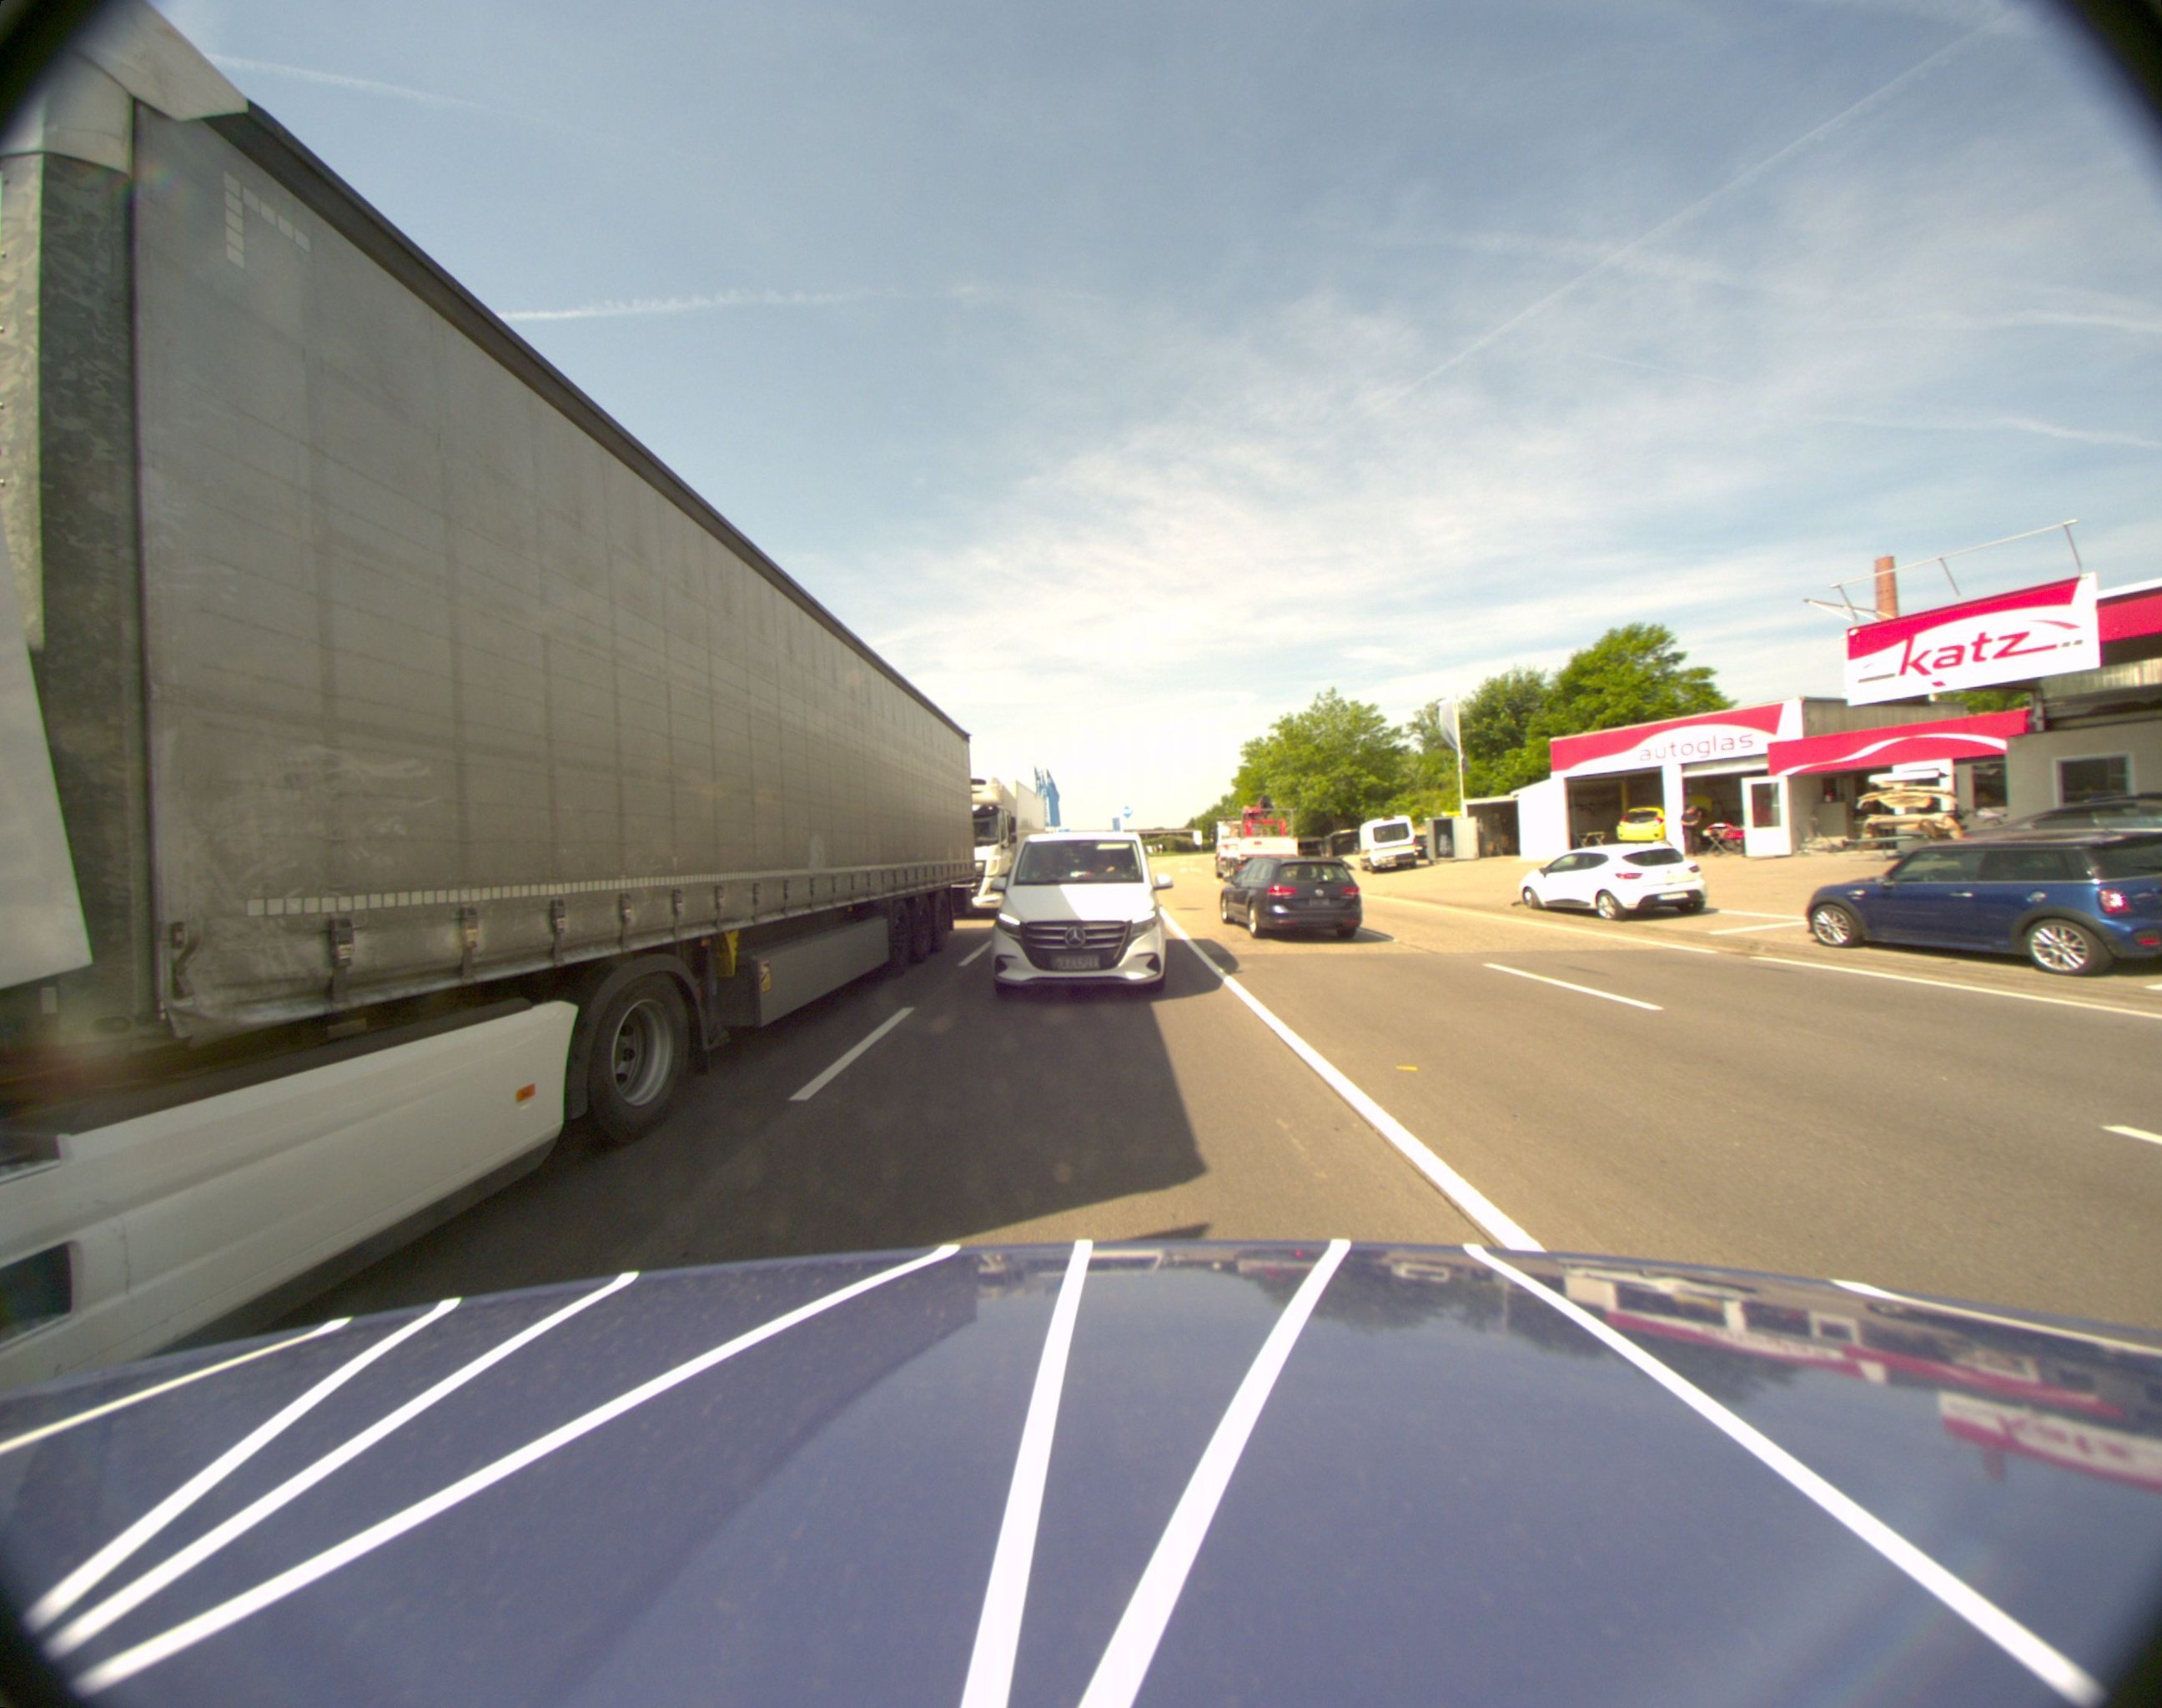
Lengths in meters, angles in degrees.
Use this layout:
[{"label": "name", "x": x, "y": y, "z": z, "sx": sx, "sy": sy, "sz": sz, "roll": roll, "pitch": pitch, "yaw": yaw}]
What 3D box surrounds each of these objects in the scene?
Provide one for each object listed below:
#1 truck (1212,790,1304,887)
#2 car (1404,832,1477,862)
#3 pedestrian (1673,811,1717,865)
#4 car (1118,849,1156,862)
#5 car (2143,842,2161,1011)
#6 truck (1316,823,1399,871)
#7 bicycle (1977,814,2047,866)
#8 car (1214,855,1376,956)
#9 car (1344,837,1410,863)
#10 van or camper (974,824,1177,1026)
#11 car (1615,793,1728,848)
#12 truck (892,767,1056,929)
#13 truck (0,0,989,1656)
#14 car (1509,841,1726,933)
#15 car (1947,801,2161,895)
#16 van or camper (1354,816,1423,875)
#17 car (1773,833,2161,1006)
[{"label": "truck", "x": 8.643, "y": -0.704, "z": 38.480, "sx": 2.962, "sy": 4.184, "sz": 10.649, "roll": -1, "pitch": 0, "yaw": 5}, {"label": "car", "x": 20.805, "y": -0.392, "z": 44.022, "sx": 3.675, "sy": 1.521, "sz": 1.736, "roll": -3, "pitch": 1, "yaw": -22}, {"label": "pedestrian", "x": 20.869, "y": -0.538, "z": 25.841, "sx": 0.724, "sy": 1.752, "sz": 0.895, "roll": -3, "pitch": 1, "yaw": 3}, {"label": "car", "x": 7.069, "y": 0.183, "z": 96.417, "sx": 4.387, "sy": 1.551, "sz": 1.810, "roll": -2, "pitch": 0, "yaw": -10}, {"label": "car", "x": 11.637, "y": 0.485, "z": 6.057, "sx": 3.806, "sy": 1.516, "sz": 1.846, "roll": -6, "pitch": 1, "yaw": -2}, {"label": "truck", "x": 16.216, "y": -0.419, "z": 45.238, "sx": 2.335, "sy": 2.283, "sz": 8.805, "roll": -7, "pitch": 0, "yaw": 6}, {"label": "bicycle", "x": 21.732, "y": -0.331, "z": 17.733, "sx": 2.000, "sy": 0.966, "sz": 0.414, "roll": -8, "pitch": 3, "yaw": -21}, {"label": "car", "x": 3.862, "y": 0.837, "z": 14.513, "sx": 1.811, "sy": 1.551, "sz": 4.386, "roll": -2, "pitch": 0, "yaw": 0}, {"label": "car", "x": 19.742, "y": -0.292, "z": 50.761, "sx": 3.671, "sy": 1.502, "sz": 1.716, "roll": -3, "pitch": 1, "yaw": -8}, {"label": "van or camper", "x": 0.044, "y": 0.701, "z": 10.232, "sx": 1.998, "sy": 2.002, "sz": 5.291, "roll": -1, "pitch": 0, "yaw": 2}, {"label": "car", "x": 22.654, "y": -1.287, "z": 29.162, "sx": 3.674, "sy": 1.715, "sz": 1.736, "roll": -6, "pitch": 2, "yaw": -22}, {"label": "truck", "x": -2.775, "y": -0.190, "z": 23.884, "sx": 2.886, "sy": 3.789, "sz": 11.143, "roll": -2, "pitch": 0, "yaw": 3}, {"label": "truck", "x": -3.702, "y": -0.356, "z": 7.309, "sx": 2.897, "sy": 4.241, "sz": 16.709, "roll": -2, "pitch": 0, "yaw": 2}, {"label": "car", "x": 11.072, "y": 0.592, "z": 16.079, "sx": 1.783, "sy": 1.608, "sz": 4.000, "roll": -3, "pitch": 1, "yaw": 2}, {"label": "car", "x": 18.725, "y": -0.139, "z": 13.210, "sx": 1.861, "sy": 1.496, "sz": 4.389, "roll": -6, "pitch": -1, "yaw": -22}, {"label": "van or camper", "x": 15.002, "y": -0.449, "z": 37.420, "sx": 2.157, "sy": 2.484, "sz": 5.955, "roll": -6, "pitch": 0, "yaw": 15}, {"label": "car", "x": 11.000, "y": 0.607, "z": 9.166, "sx": 1.783, "sy": 1.485, "sz": 3.781, "roll": -7, "pitch": 0, "yaw": 2}]
